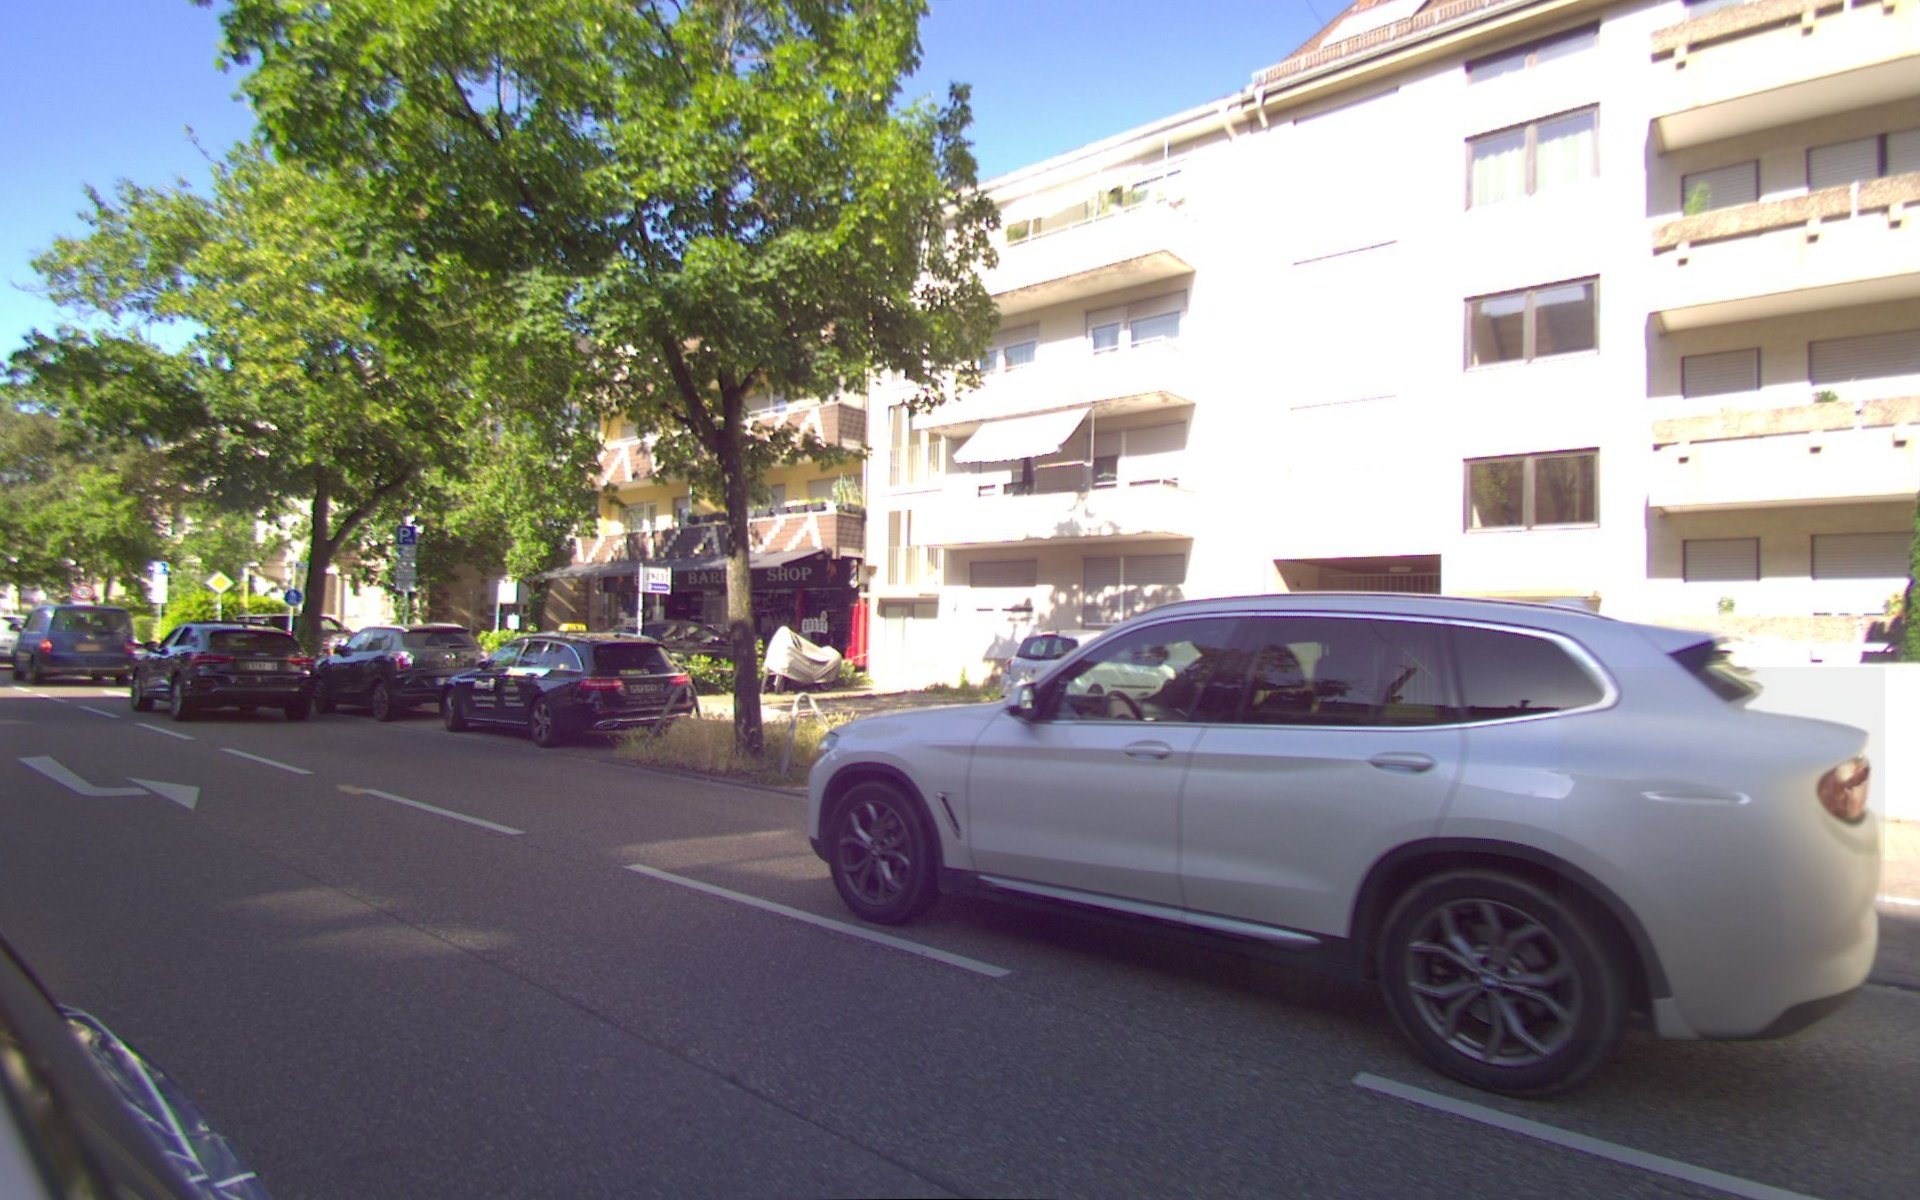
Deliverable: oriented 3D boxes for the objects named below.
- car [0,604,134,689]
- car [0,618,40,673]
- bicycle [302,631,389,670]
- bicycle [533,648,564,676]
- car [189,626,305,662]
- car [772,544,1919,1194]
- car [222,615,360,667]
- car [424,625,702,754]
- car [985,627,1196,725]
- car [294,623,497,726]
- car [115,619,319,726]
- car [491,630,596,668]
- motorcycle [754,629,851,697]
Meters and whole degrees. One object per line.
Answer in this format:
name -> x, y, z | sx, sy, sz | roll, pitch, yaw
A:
car -> -22.508, 1.169, 25.434 | 4.708, 1.925, 1.784 | -1, -5, 40
car -> -32.390, 1.483, 33.797 | 4.489, 1.756, 1.797 | -1, -5, 40
bicycle -> -22.356, 1.813, 36.932 | 0.941, 1.271, 3.169 | 2, -1, 6
bicycle -> -14.900, 2.249, 36.641 | 0.398, 0.988, 1.760 | 3, -5, -43
car -> -31.062, 1.879, 44.178 | 1.631, 1.500, 3.867 | -2, -2, 41
car -> 1.360, 0.788, 4.720 | 4.668, 1.660, 1.788 | -1, -5, 40
car -> -25.930, 1.559, 39.407 | 1.863, 1.893, 4.304 | -1, -2, 17
car -> -5.773, 1.136, 14.425 | 4.677, 1.547, 1.704 | -1, -2, 41
car -> 2.393, 1.248, 17.834 | 1.879, 1.498, 3.947 | -2, -2, 39
car -> -10.106, 1.228, 18.011 | 4.130, 1.608, 1.705 | -1, -2, 38
car -> -12.564, 1.180, 17.022 | 4.339, 1.578, 1.701 | -1, -5, 40
car -> -17.534, 2.061, 42.722 | 1.646, 1.499, 3.744 | 1, -2, 40
motorcycle -> -3.611, 1.415, 23.284 | 2.124, 1.497, 0.782 | 1, -2, -41
